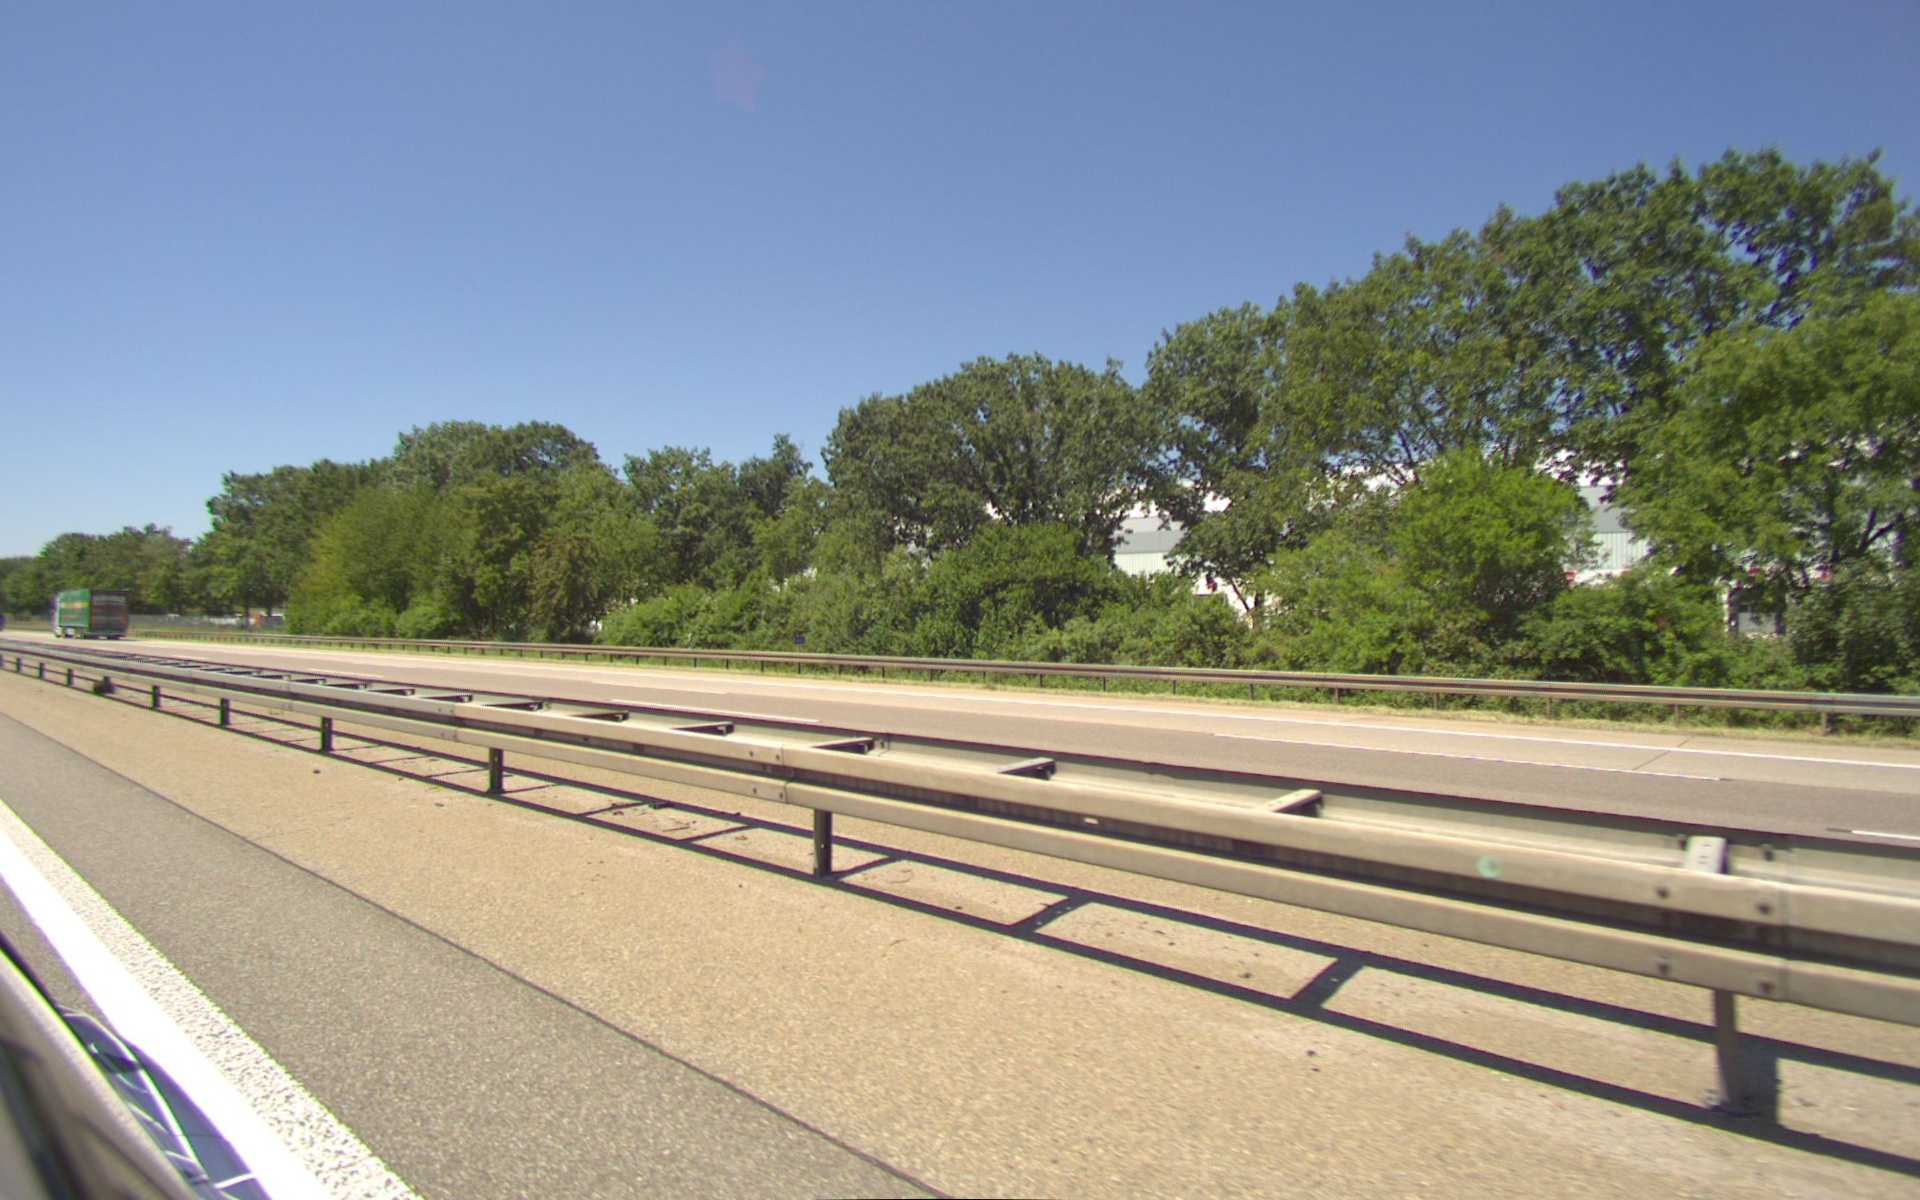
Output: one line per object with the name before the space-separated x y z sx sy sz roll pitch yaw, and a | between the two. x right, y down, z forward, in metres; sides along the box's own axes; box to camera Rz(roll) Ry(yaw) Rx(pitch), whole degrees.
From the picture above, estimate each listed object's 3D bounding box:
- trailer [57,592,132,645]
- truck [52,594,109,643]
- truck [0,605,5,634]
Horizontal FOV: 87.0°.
trailer | -72.348 1.589 84.462 13.677 4.075 2.846 -1 -4 42
truck | -77.147 1.659 88.769 6.330 4.075 2.846 -1 -4 42
truck | -129.619 2.591 134.477 9.595 3.820 2.973 -1 -2 41
